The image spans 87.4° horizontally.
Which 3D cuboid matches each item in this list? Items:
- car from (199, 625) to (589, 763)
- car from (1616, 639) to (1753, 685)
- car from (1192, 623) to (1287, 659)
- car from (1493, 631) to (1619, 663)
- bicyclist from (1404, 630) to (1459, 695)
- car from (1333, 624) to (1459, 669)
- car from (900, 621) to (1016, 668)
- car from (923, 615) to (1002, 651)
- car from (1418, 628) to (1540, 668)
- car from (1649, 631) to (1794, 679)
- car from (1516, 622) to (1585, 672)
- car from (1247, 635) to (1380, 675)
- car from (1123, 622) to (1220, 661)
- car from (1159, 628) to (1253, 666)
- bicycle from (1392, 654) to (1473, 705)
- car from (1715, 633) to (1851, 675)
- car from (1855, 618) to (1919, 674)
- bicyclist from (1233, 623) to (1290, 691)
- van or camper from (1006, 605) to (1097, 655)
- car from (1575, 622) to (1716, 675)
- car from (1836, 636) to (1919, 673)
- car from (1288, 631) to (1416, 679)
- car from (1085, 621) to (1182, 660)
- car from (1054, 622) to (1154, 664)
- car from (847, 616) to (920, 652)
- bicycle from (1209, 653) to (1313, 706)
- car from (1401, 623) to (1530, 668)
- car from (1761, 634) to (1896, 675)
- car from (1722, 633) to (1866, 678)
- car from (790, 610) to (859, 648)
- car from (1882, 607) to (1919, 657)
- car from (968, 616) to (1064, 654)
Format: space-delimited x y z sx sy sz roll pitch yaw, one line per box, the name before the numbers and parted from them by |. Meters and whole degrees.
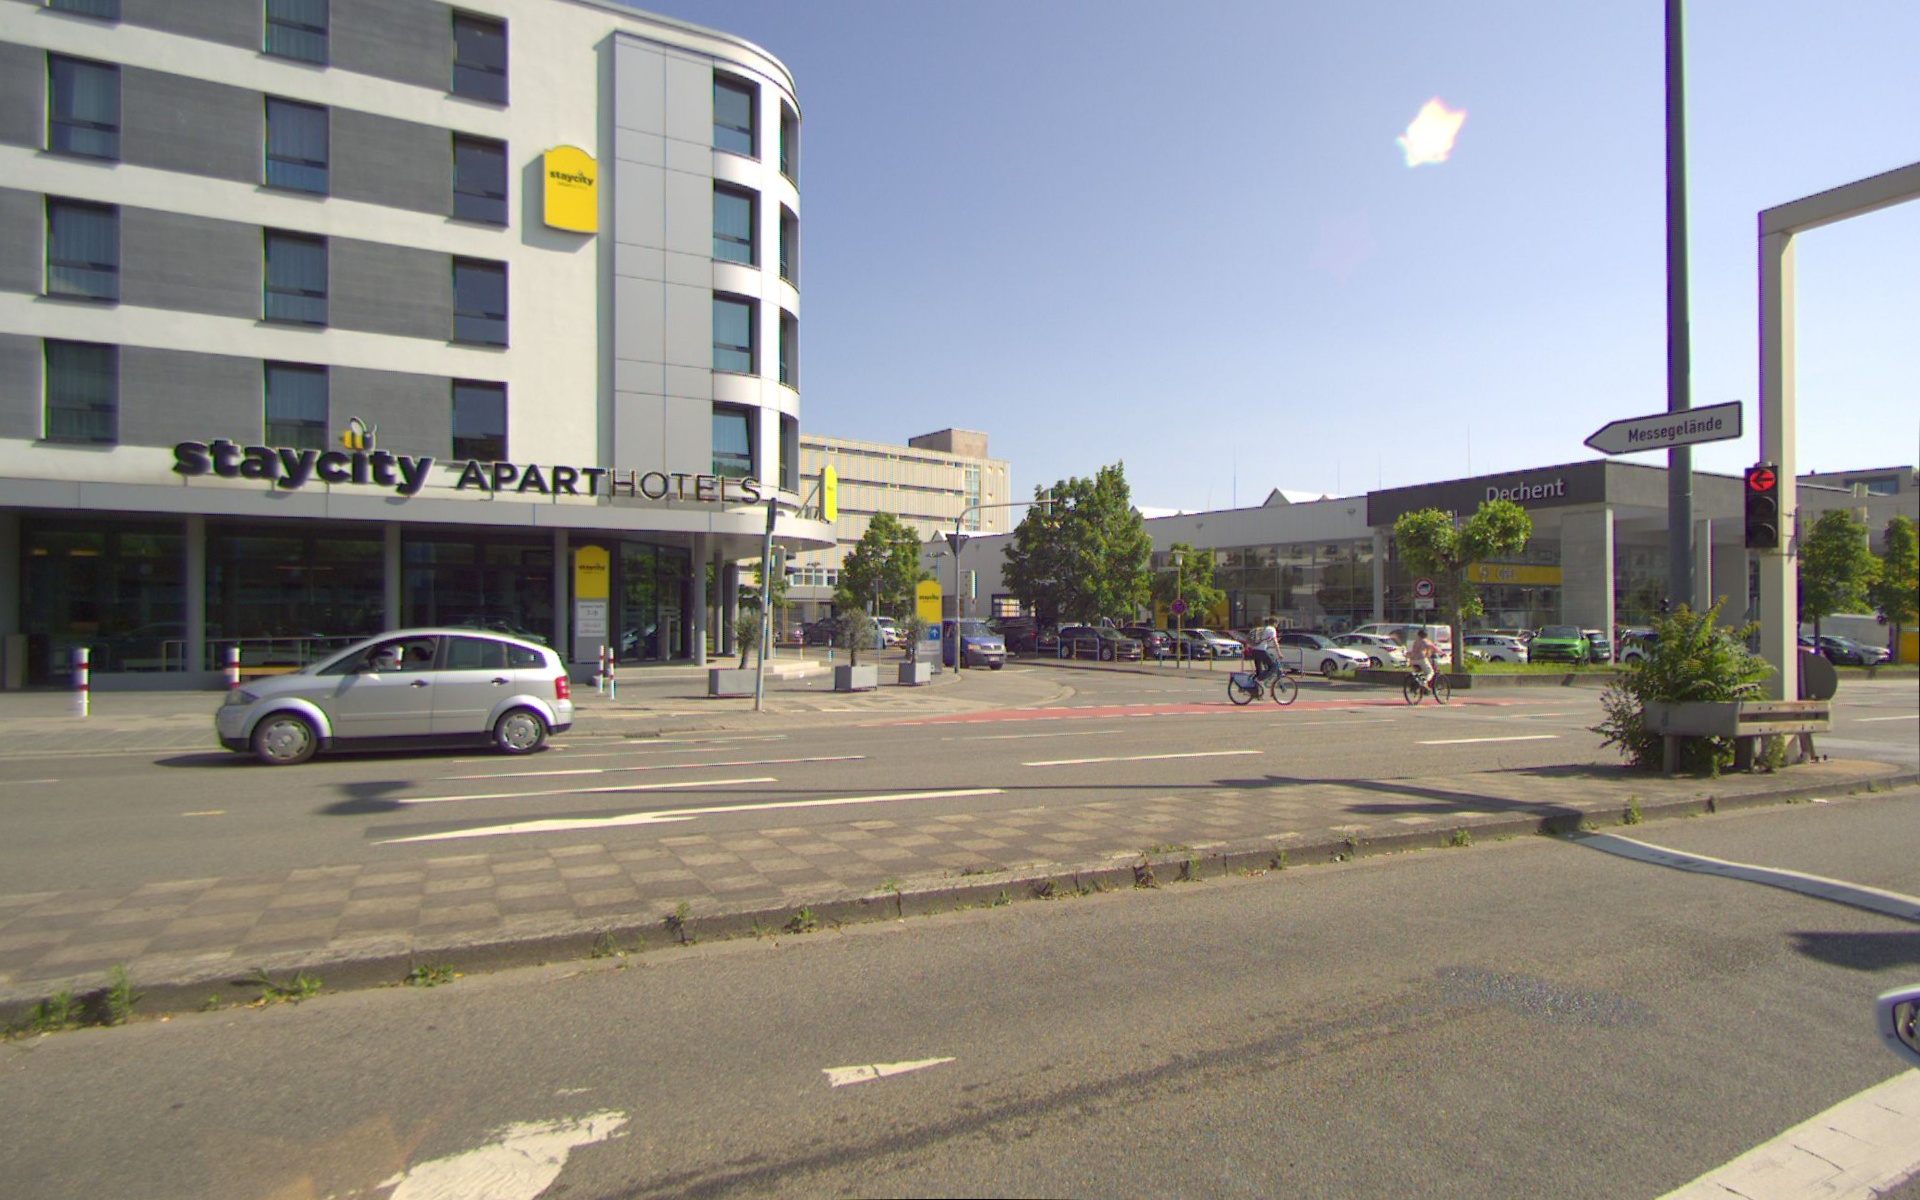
car | -6.691 1.083 12.296 3.865 1.457 1.766 2 -3 -27
car | 28.376 2.394 39.451 1.980 1.620 3.961 2 -2 -35
car | 13.966 2.030 50.436 1.981 1.719 4.327 2 -2 -36
car | 25.854 2.027 43.698 1.981 1.284 4.327 4 -4 -36
bicyclist | 11.137 1.457 23.722 1.016 1.479 0.763 2 -2 -35
car | 17.740 1.843 41.005 1.981 1.719 4.326 2 -2 -36
car | -0.151 1.699 39.239 1.983 1.737 4.775 2 -2 -38
car | 0.102 1.804 54.937 3.943 1.710 1.989 2 -2 43
car | 22.432 2.046 43.536 1.981 1.612 4.327 2 -2 -36
car | 30.765 2.183 40.709 1.977 1.789 4.276 2 -2 -30
car | 21.822 1.758 37.251 1.871 1.756 3.293 0 -3 25
car | 12.894 1.984 36.884 1.979 1.317 4.331 2 -2 -33
car | 9.890 1.926 47.301 1.979 1.719 4.331 2 -2 -33
car | 11.982 2.252 49.135 1.979 1.719 4.331 2 -2 -33
bicycle | 11.189 1.853 23.748 2.140 1.131 0.763 2 -2 -35
car | 36.734 2.390 44.964 1.977 1.719 4.335 2 -2 -30
car | 47.217 2.260 49.274 2.096 2.719 4.492 1 -1 -19
bicyclist | 6.745 1.264 22.492 1.008 1.479 0.769 1 -1 -7
van or camper | 4.572 1.517 50.986 1.982 2.432 4.681 2 -2 -37
car | 25.162 1.742 36.972 1.977 1.862 3.851 2 -2 -31
car | 45.090 2.601 48.118 1.972 1.719 4.347 1 -2 -23
car | 15.189 2.106 39.102 1.979 1.719 4.331 2 -2 -33
car | 7.916 1.836 46.239 1.979 1.719 4.331 2 -2 -33
car | 6.268 1.841 44.063 1.979 1.719 4.331 2 -2 -33
car | -4.419 1.915 57.566 1.970 1.815 4.379 2 0 -40
bicycle | 6.728 1.782 22.484 2.122 1.131 0.769 1 -1 -9
car | 20.732 1.828 41.346 1.981 1.719 4.326 2 -2 -36
car | 39.741 2.454 46.065 1.977 1.719 4.335 2 -2 -30
car | 35.404 2.318 42.777 1.977 1.719 4.336 2 -1 -30
car | -8.376 1.756 61.827 1.984 2.158 4.568 2 0 -40
car | 51.451 1.708 52.530 1.972 2.635 4.347 1 -1 -23
car | 2.665 1.655 48.280 4.306 1.719 1.990 0 -2 41
